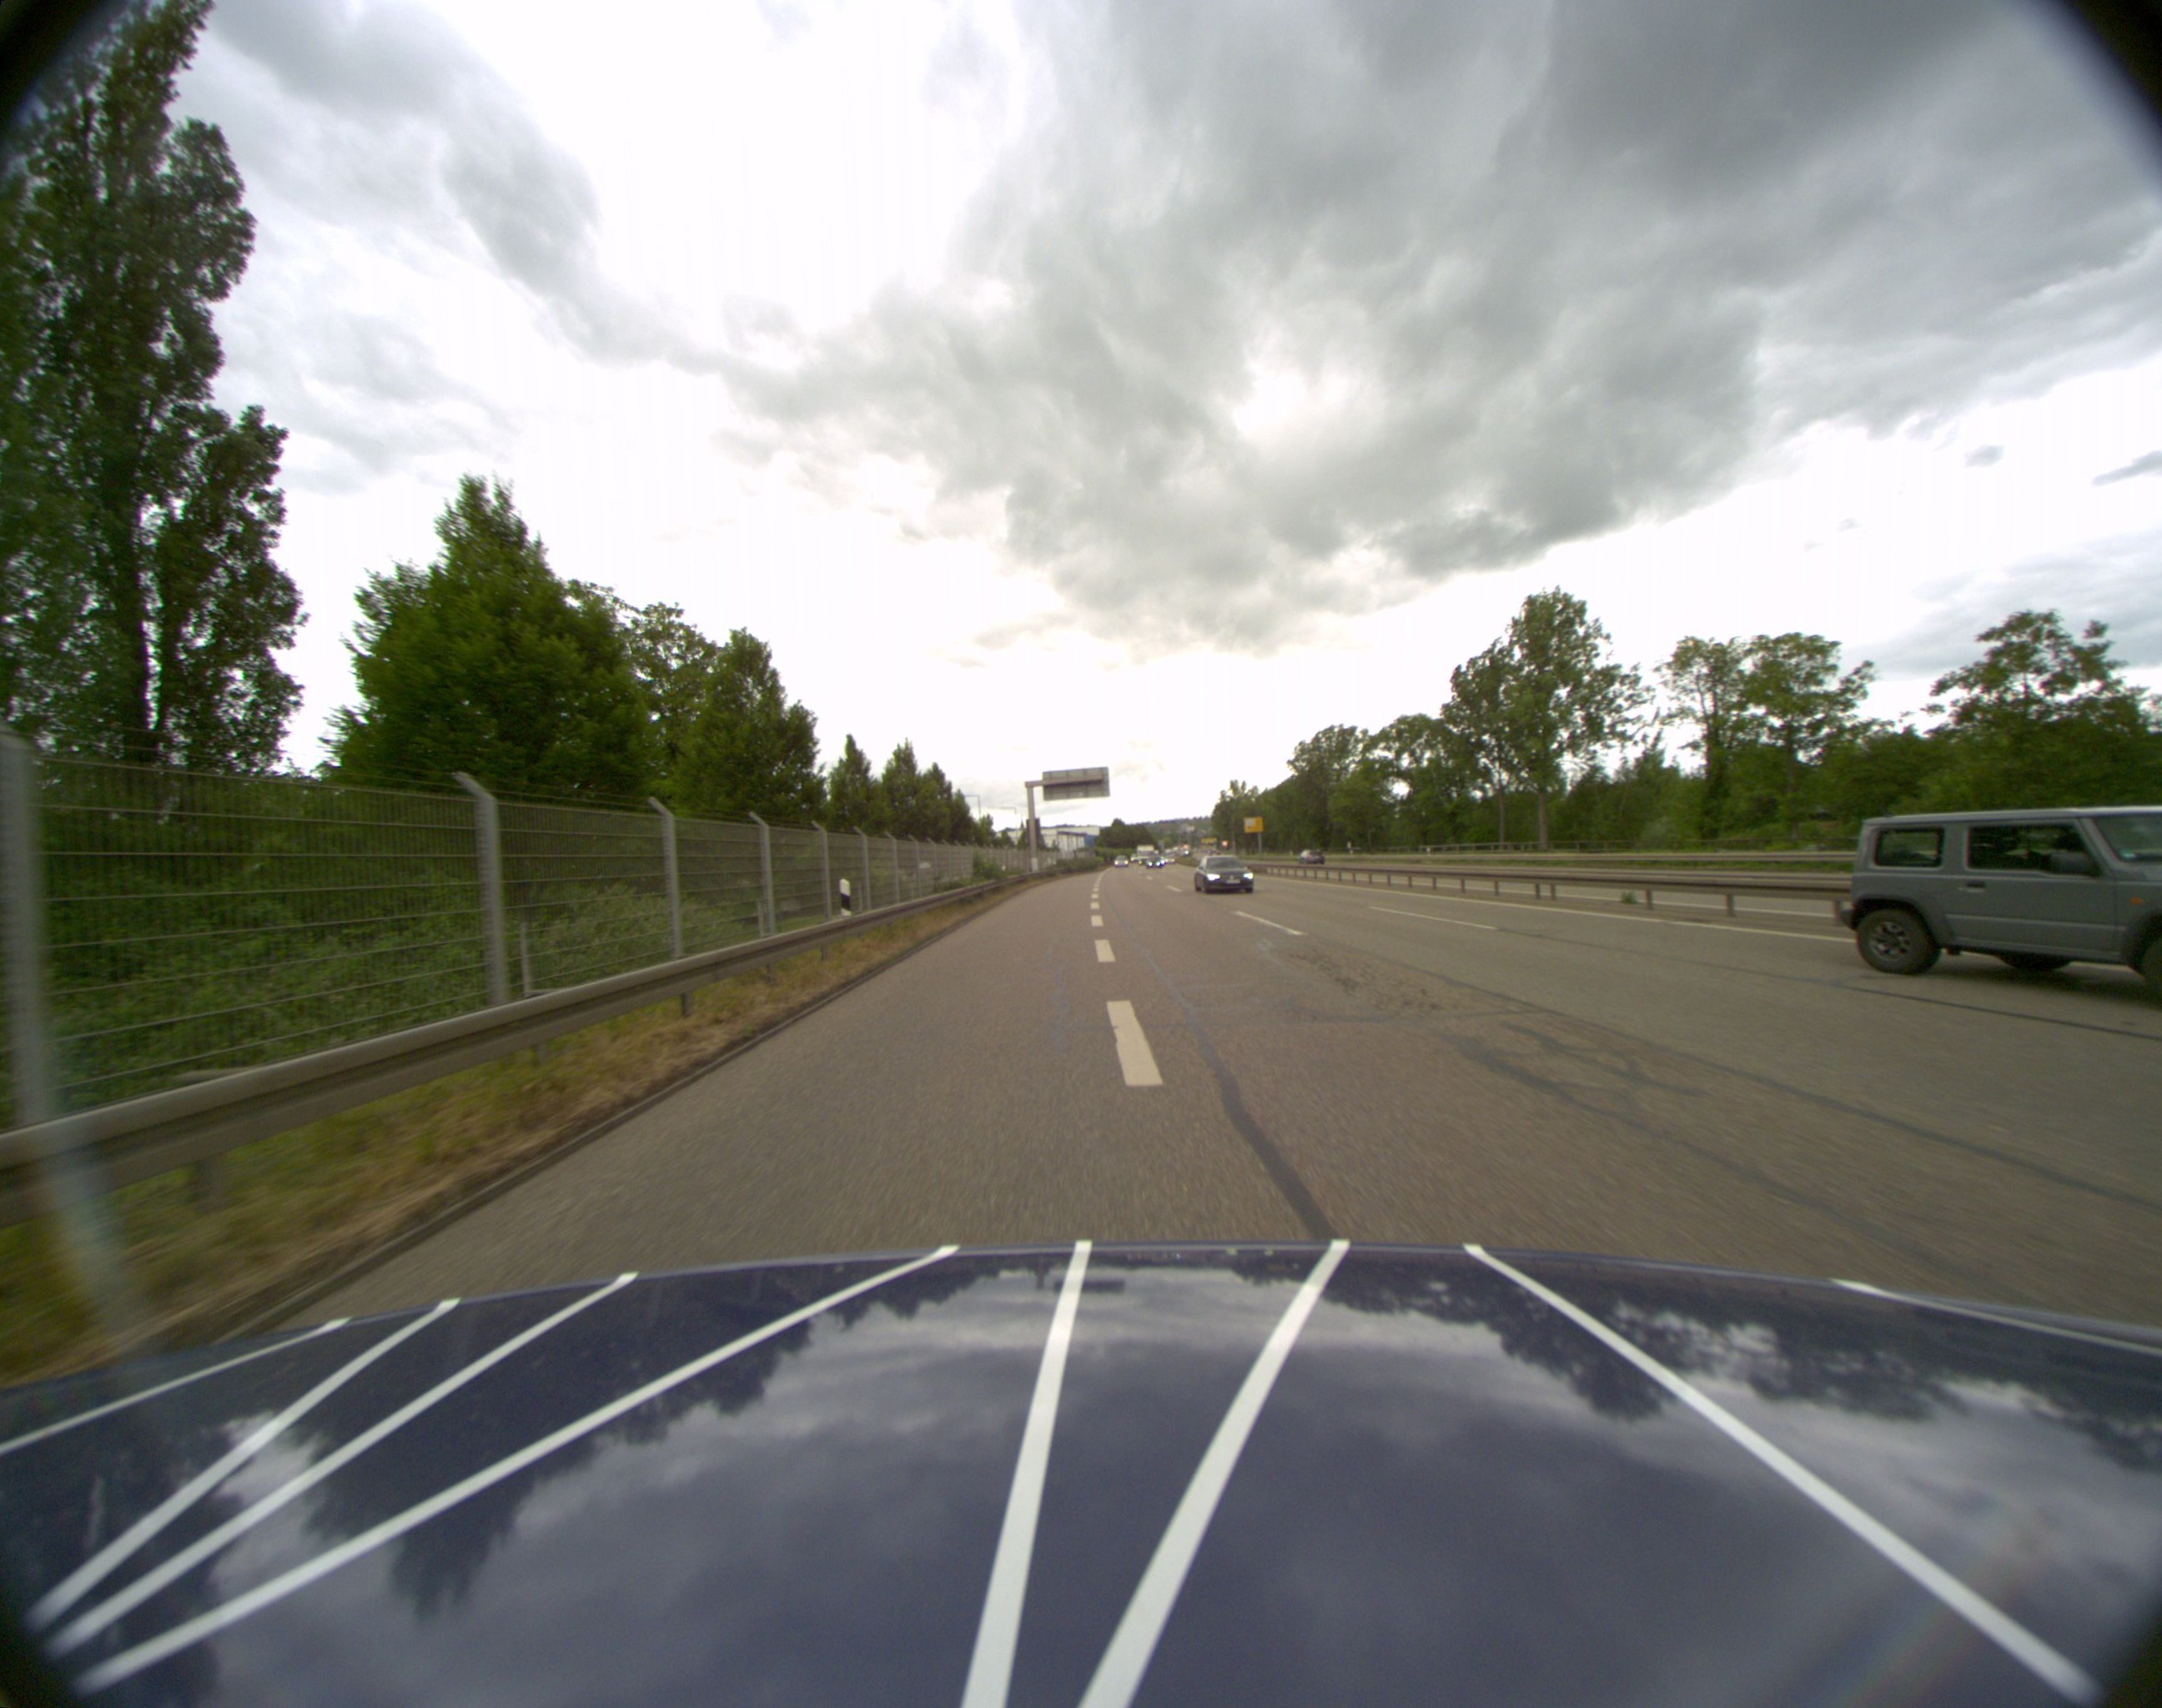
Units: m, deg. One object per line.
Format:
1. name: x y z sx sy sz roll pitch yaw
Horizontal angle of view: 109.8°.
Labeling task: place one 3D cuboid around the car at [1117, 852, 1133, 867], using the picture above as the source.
1. car: 6.006 0.740 104.559 1.998 2.002 4.001 -4 0 3

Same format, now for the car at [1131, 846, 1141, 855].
1. car: 12.253 -0.750 169.492 1.998 2.002 4.000 -2 0 0

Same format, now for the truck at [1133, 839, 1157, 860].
1. truck: 10.149 -0.827 121.779 3.040 3.141 7.566 -2 1 -1

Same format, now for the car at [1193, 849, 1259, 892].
1. car: 5.588 0.600 29.773 1.939 1.492 4.305 -2 0 3

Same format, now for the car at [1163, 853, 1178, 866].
1. car: 14.771 0.827 125.734 1.998 2.002 4.001 -4 0 3

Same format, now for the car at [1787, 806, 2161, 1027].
1. car: 9.240 0.450 7.036 1.685 1.726 3.998 -2 1 0

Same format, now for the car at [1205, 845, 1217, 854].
1. car: 29.750 -0.942 174.087 1.998 2.002 4.000 -2 0 2

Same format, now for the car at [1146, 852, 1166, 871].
1. car: 8.675 0.869 87.925 1.998 2.002 4.001 -4 0 3

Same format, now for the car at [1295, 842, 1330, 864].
1. car: 23.062 -0.103 75.991 1.998 2.002 5.222 -4 0 3
